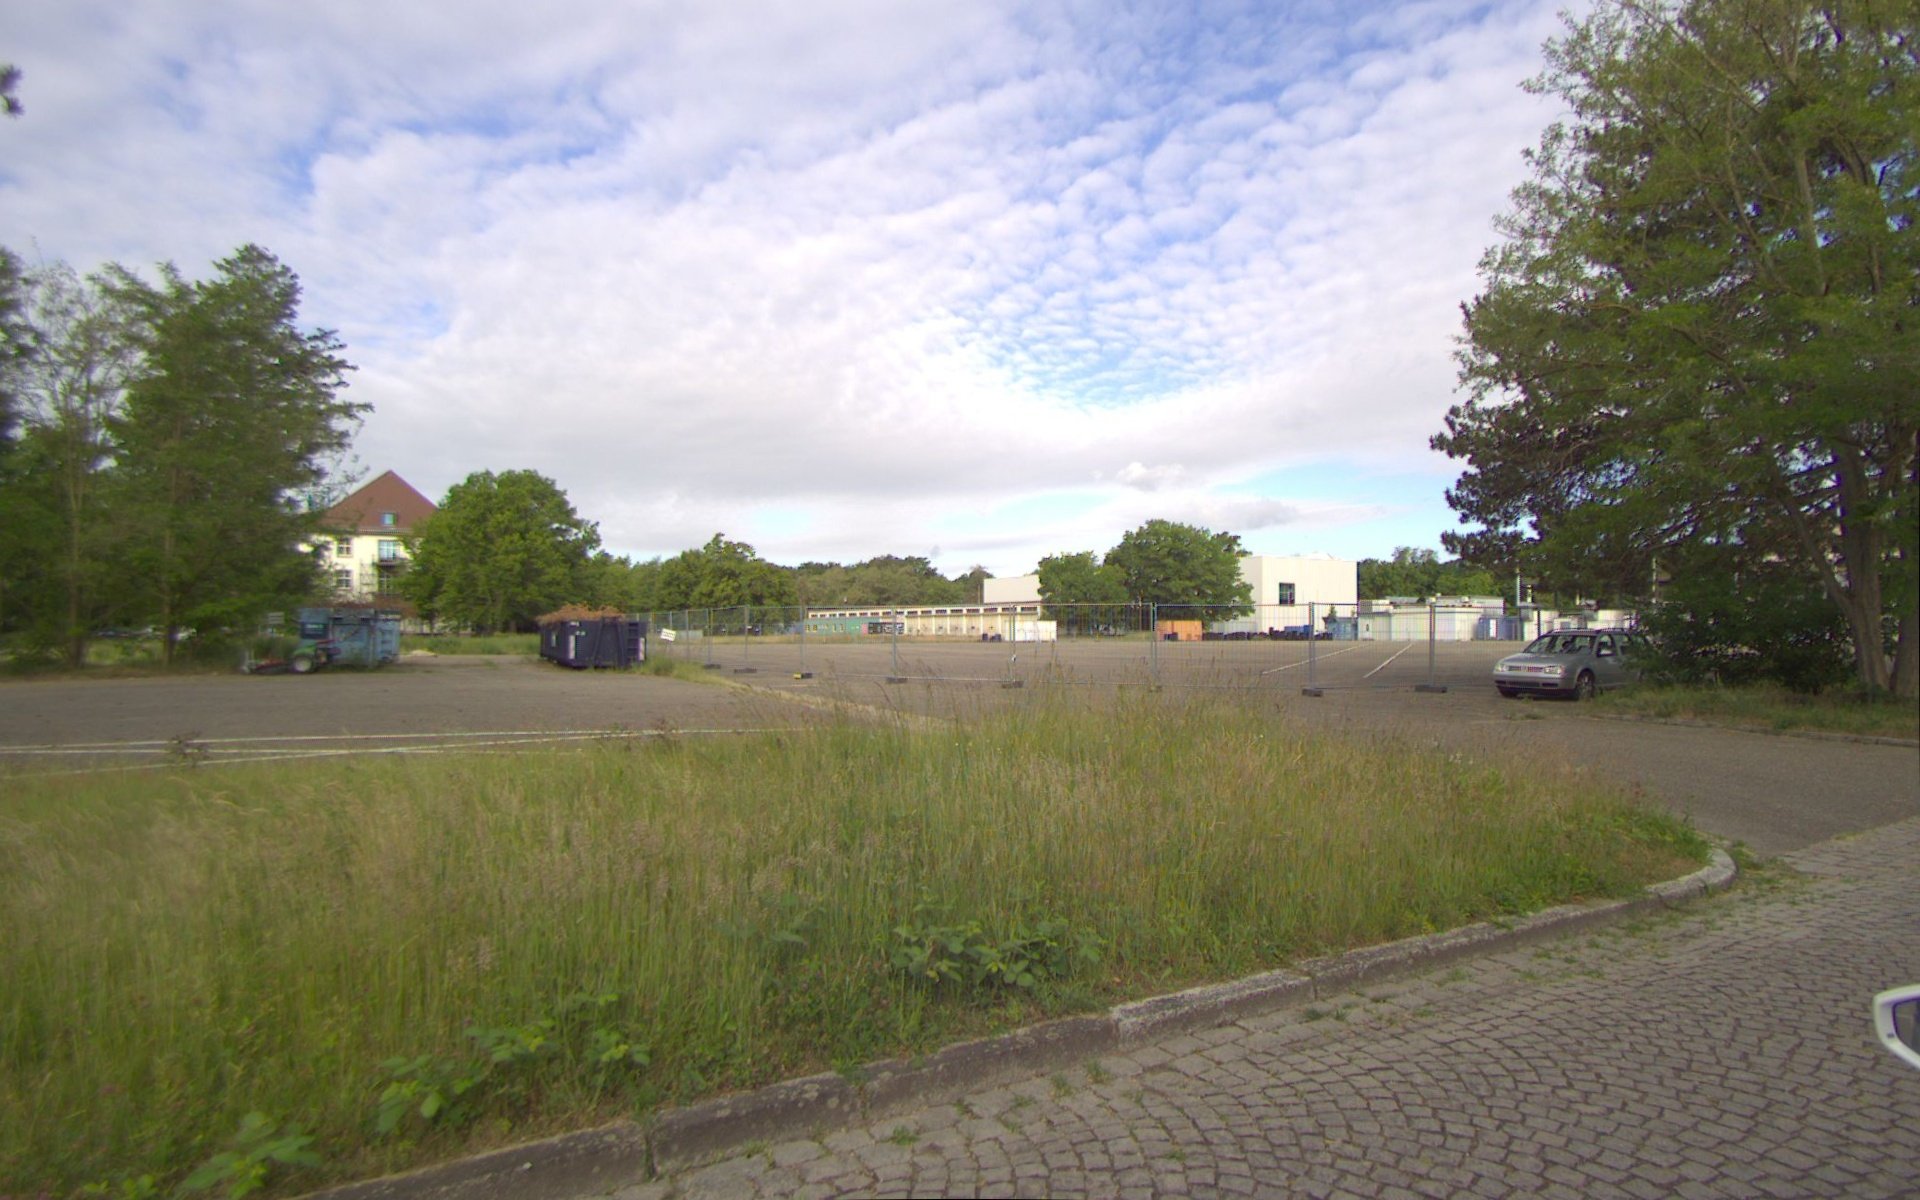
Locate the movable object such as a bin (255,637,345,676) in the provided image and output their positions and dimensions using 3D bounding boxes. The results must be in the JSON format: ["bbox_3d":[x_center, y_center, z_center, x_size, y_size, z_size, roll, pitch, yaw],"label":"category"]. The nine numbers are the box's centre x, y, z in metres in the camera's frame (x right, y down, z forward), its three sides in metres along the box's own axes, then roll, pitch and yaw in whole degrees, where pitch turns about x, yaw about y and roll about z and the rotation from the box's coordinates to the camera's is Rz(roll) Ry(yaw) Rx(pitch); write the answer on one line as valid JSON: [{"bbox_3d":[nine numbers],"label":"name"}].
[{"bbox_3d":[-17.176,1.460,26.164,1.917,0.945,1.031,1,-2,-37],"label":"movable object such as a bin"}]

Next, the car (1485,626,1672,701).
[{"bbox_3d":[13.450,1.309,21.776,4.417,1.457,1.706,1,-1,-32],"label":"car"}]
